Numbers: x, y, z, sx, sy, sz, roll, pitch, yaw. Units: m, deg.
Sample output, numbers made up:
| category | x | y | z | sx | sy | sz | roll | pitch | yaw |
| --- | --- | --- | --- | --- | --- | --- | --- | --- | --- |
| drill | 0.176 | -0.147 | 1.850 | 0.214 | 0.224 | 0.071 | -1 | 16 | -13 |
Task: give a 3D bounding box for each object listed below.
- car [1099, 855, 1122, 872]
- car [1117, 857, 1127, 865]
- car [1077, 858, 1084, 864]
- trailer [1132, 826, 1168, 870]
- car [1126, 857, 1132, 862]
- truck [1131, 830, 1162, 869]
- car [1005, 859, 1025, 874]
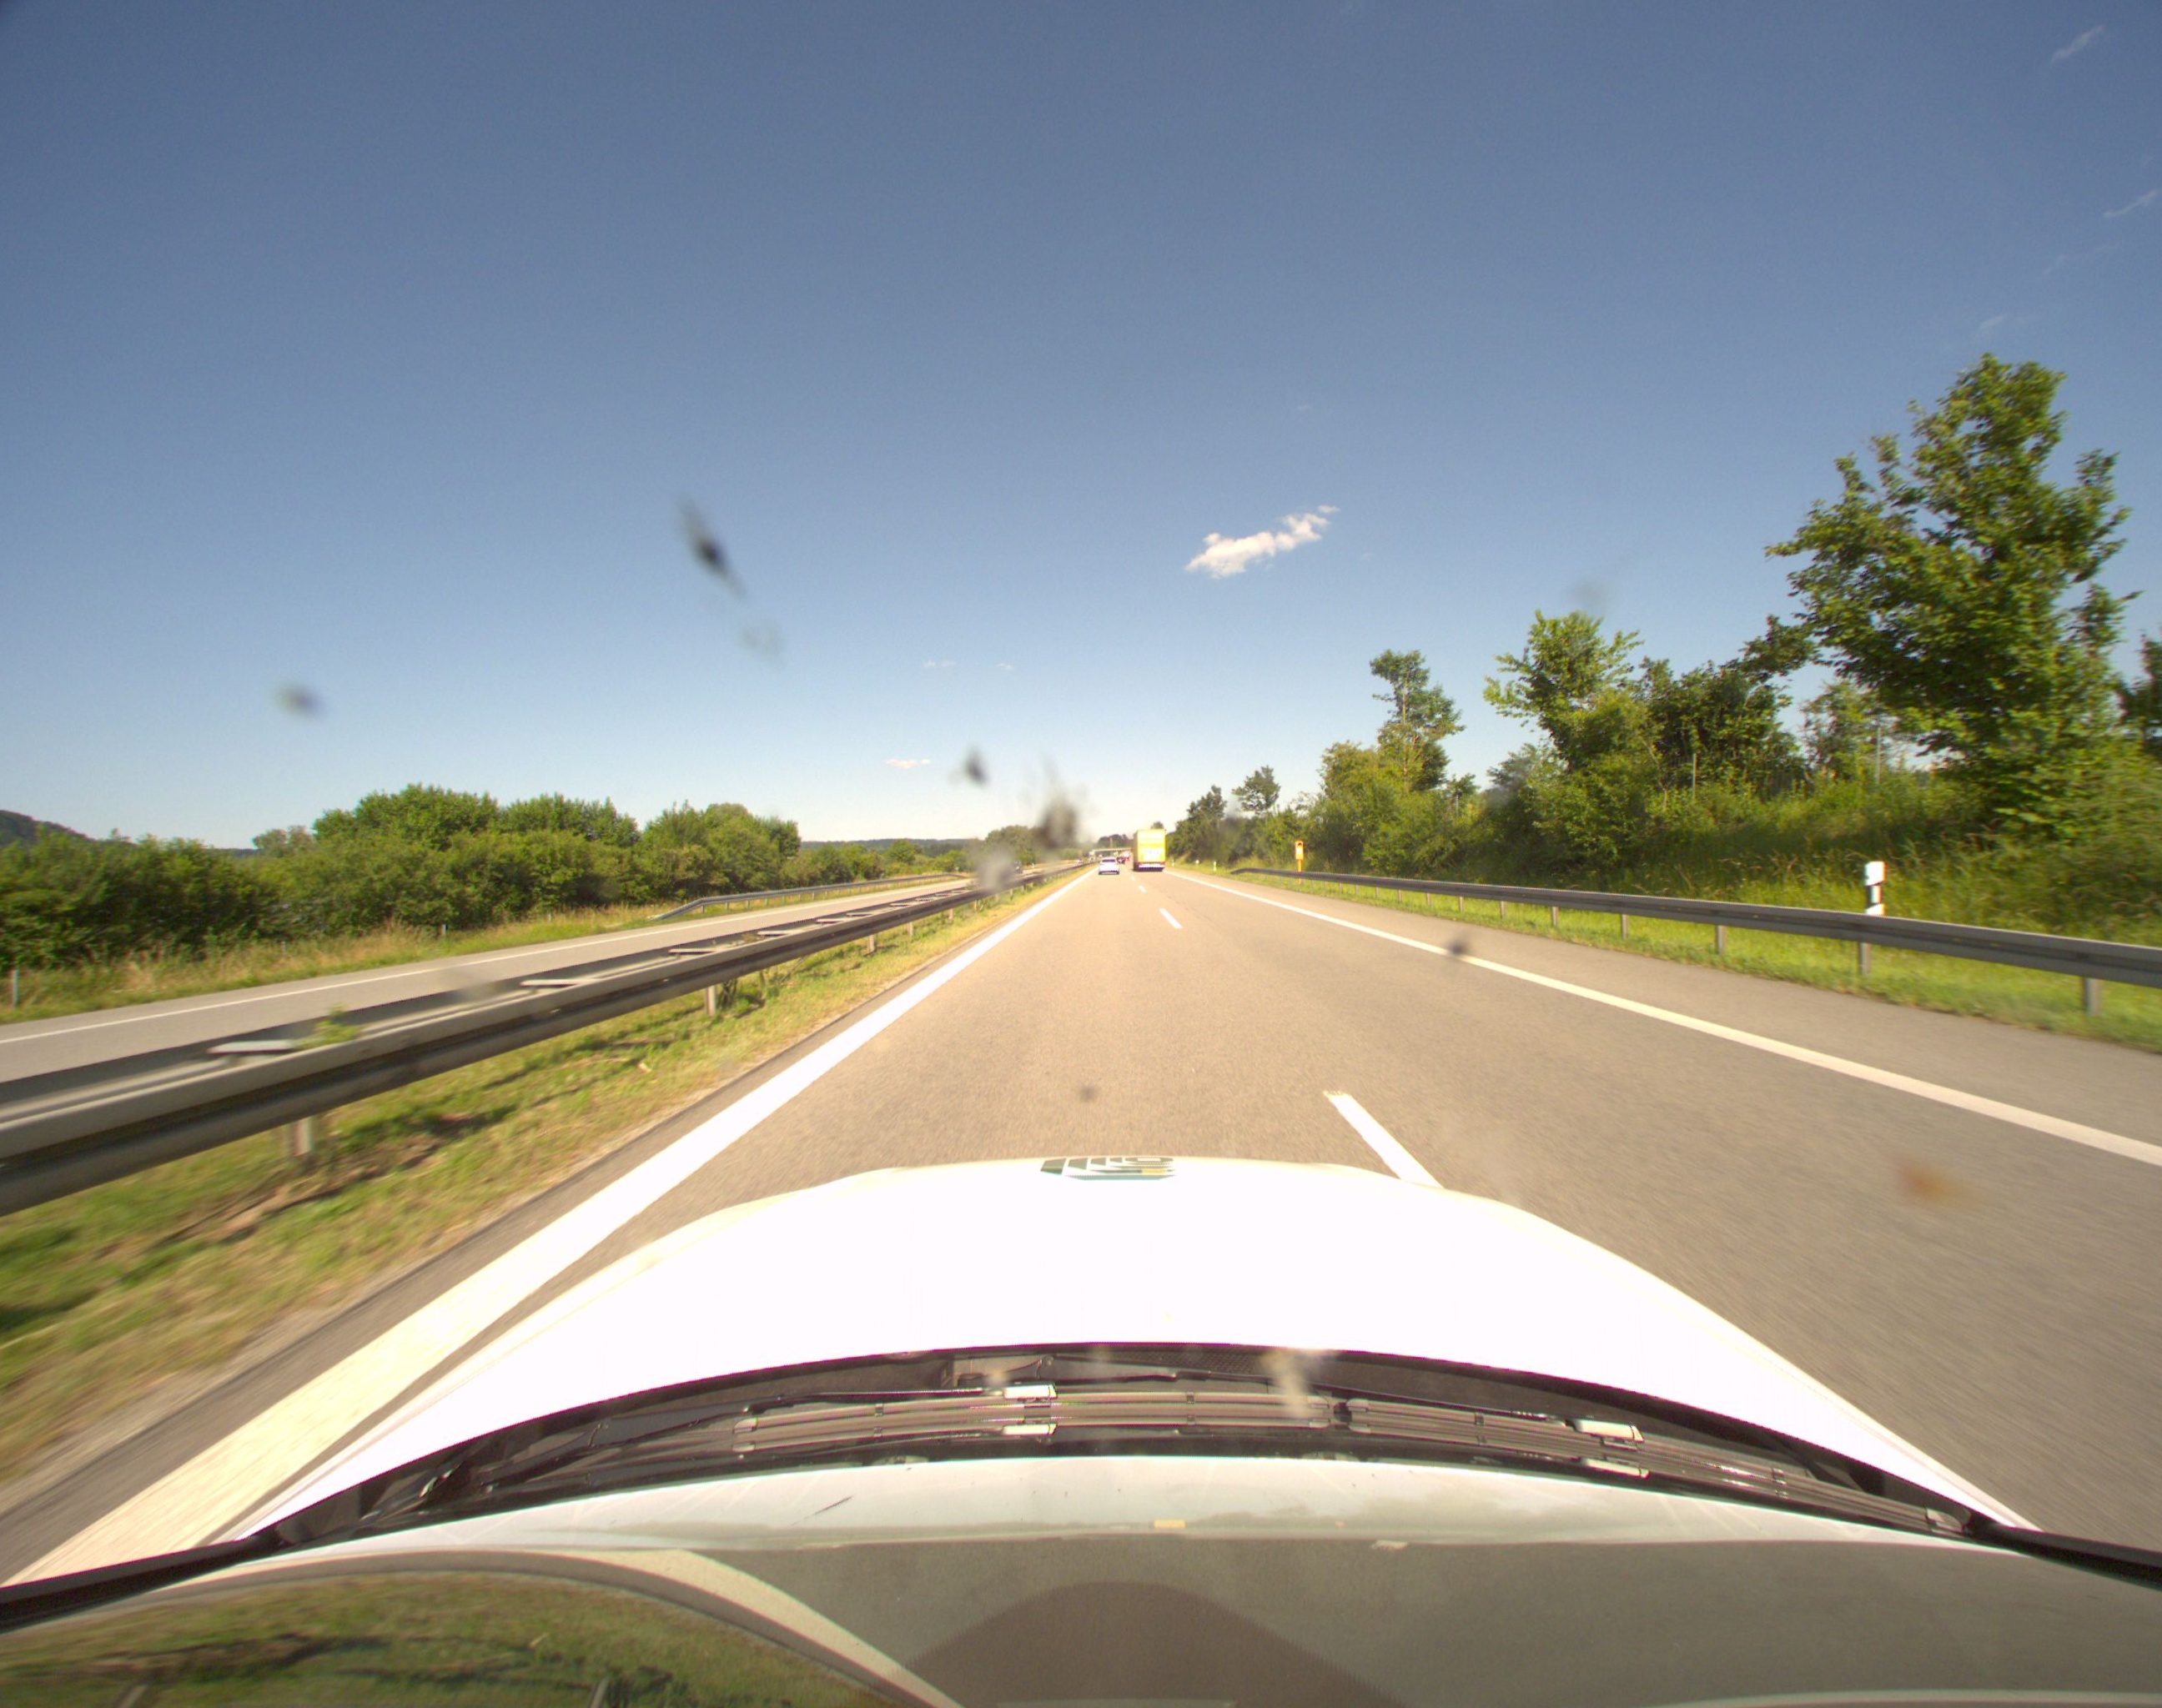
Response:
| category | x | y | z | sx | sy | sz | roll | pitch | yaw |
| --- | --- | --- | --- | --- | --- | --- | --- | --- | --- |
| car | 2.577 | 0.825 | 69.828 | 1.835 | 1.416 | 4.003 | 0 | -1 | 3 |
| car | 7.751 | 1.406 | 154.730 | 1.835 | 1.520 | 4.003 | 0 | -1 | 3 |
| car | -0.059 | 2.209 | 253.268 | 1.723 | 1.511 | 4.484 | -4 | -1 | 4 |
| trailer | 6.909 | -0.494 | 83.024 | 3.172 | 4.059 | 13.194 | 0 | 0 | 3 |
| car | 15.198 | 1.691 | 259.152 | 1.895 | 1.683 | 4.733 | 1 | 0 | 2 |
| truck | 7.149 | -0.428 | 89.641 | 3.157 | 4.114 | 6.390 | 0 | -1 | 1 |
| car | -7.828 | 1.468 | 97.144 | 1.823 | 1.571 | 4.658 | -3 | -1 | 2 |
